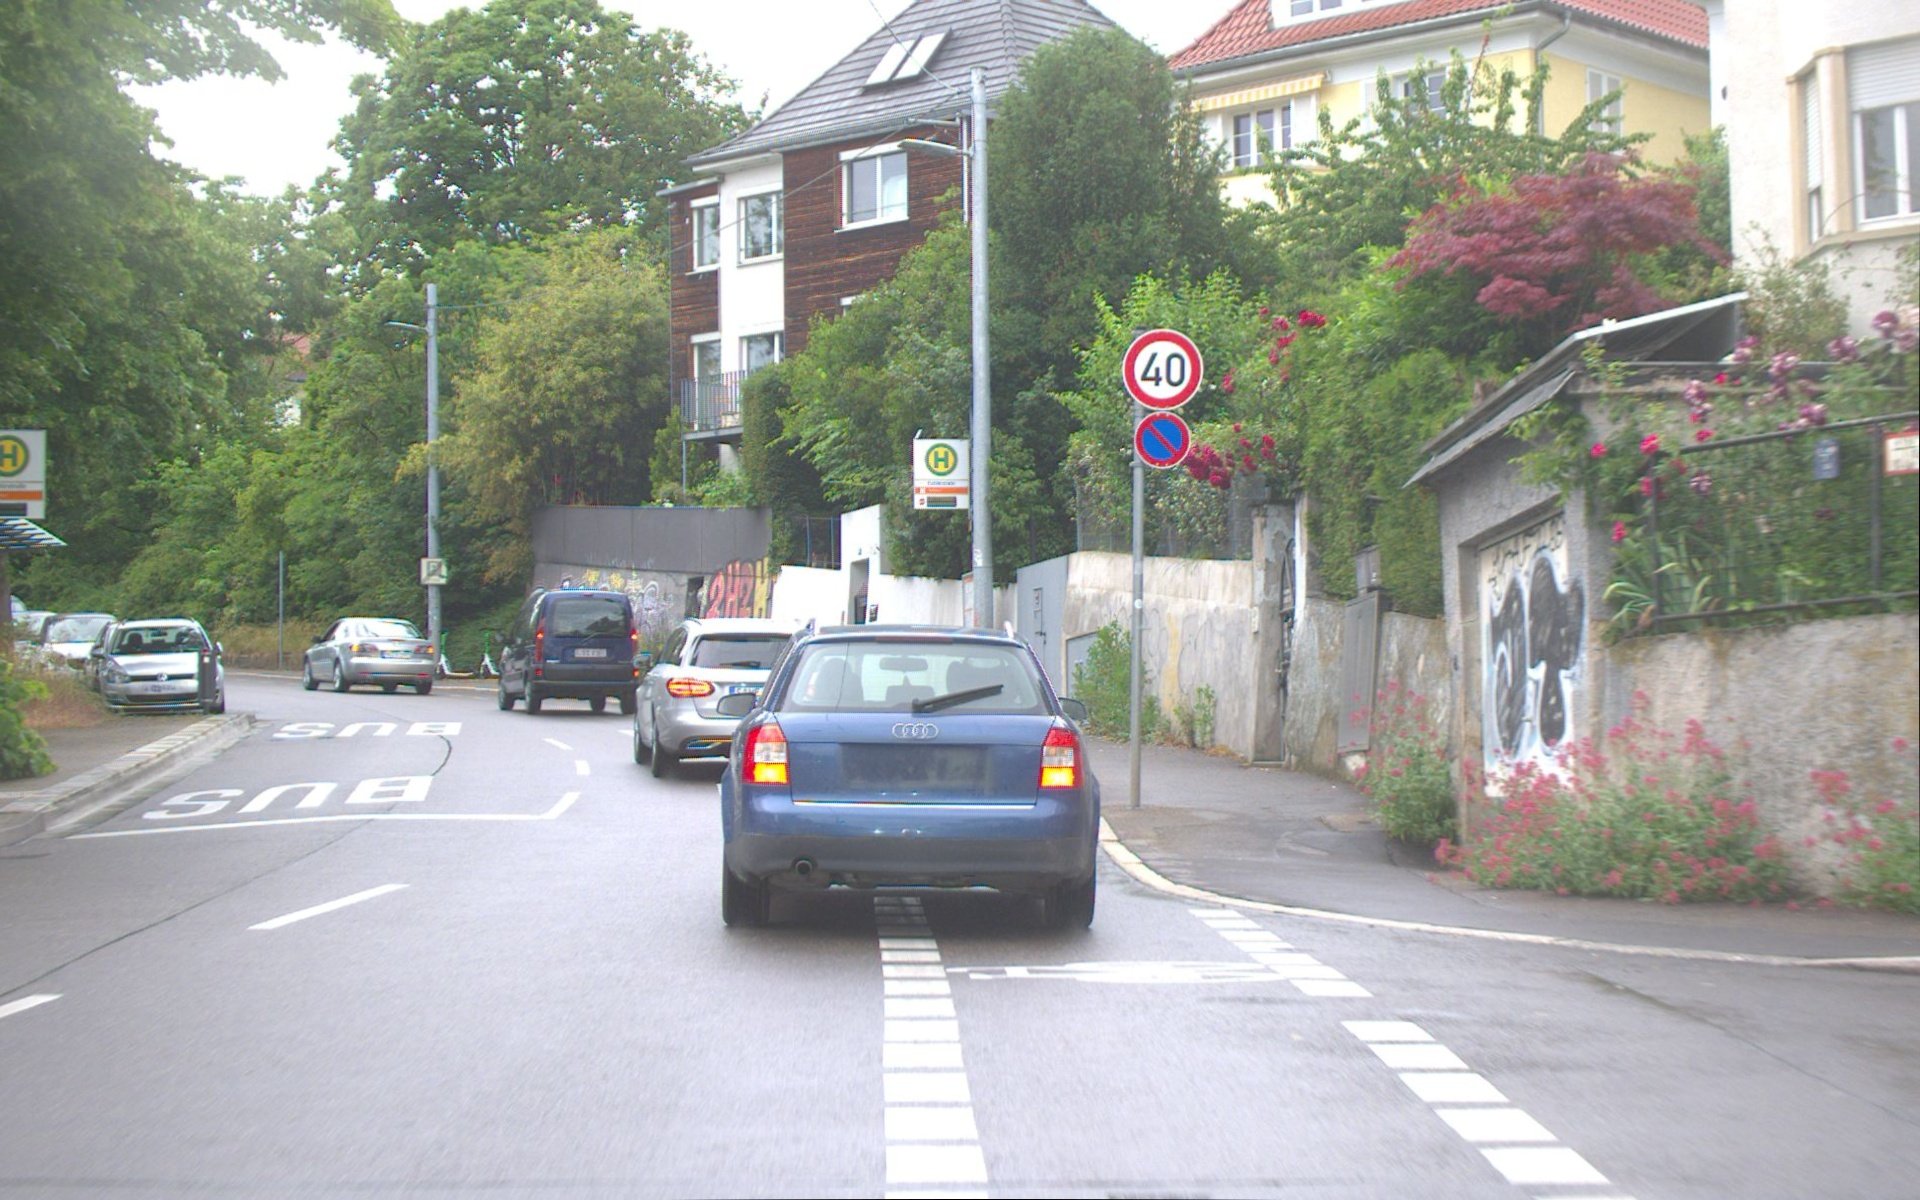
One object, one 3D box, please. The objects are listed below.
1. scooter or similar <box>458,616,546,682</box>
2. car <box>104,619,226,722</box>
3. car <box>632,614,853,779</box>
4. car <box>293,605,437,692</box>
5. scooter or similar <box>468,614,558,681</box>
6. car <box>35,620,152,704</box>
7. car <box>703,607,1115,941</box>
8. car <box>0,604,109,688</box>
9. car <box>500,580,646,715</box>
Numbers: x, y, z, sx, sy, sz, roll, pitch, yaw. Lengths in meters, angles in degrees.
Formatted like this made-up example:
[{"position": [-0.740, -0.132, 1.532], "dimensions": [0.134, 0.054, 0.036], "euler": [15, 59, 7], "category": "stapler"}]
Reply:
[{"position": [-10.283, 1.107, 77.179], "dimensions": [1.833, 1.310, 0.600], "euler": [5, -4, -13], "category": "scooter or similar"}, {"position": [-11.823, 1.010, 51.065], "dimensions": [1.673, 1.422, 4.001], "euler": [-1, 0, -14], "category": "car"}, {"position": [-2.090, 0.906, 32.713], "dimensions": [1.908, 1.384, 4.350], "euler": [2, -1, -4], "category": "car"}, {"position": [-11.261, 0.899, 64.869], "dimensions": [1.766, 1.565, 4.031], "euler": [-1, 0, -23], "category": "car"}, {"position": [-9.934, 1.058, 76.343], "dimensions": [1.833, 1.310, 0.600], "euler": [5, -4, -13], "category": "scooter or similar"}, {"position": [-15.685, 1.098, 62.113], "dimensions": [1.673, 1.422, 4.001], "euler": [-1, 0, -19], "category": "car"}, {"position": [-0.270, 0.772, 16.956], "dimensions": [1.777, 1.434, 4.000], "euler": [-1, 0, -1], "category": "car"}, {"position": [-17.741, 0.877, 66.733], "dimensions": [1.673, 1.546, 3.903], "euler": [-1, 0, -24], "category": "car"}, {"position": [-5.810, 0.688, 51.274], "dimensions": [1.730, 1.888, 4.056], "euler": [-1, 0, -12], "category": "car"}]
